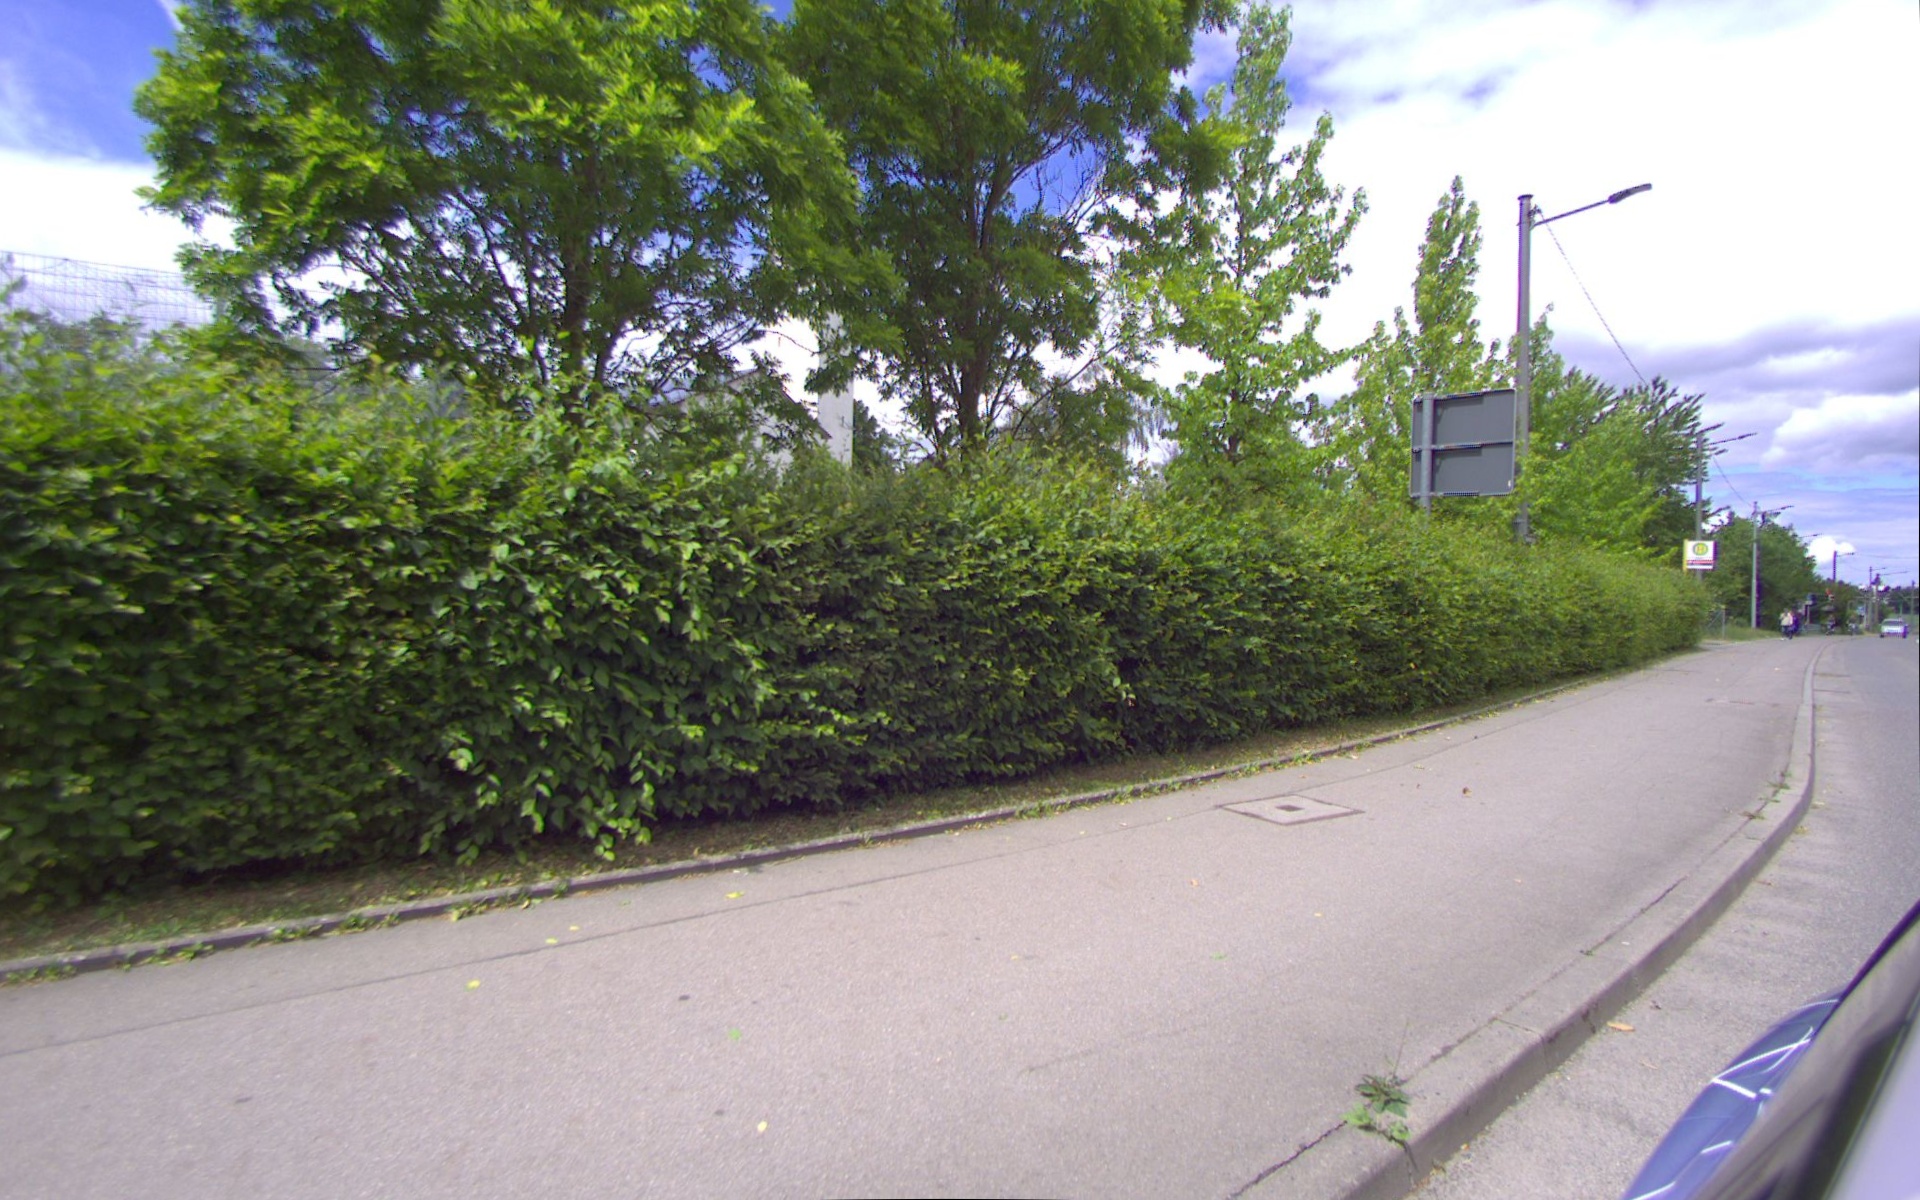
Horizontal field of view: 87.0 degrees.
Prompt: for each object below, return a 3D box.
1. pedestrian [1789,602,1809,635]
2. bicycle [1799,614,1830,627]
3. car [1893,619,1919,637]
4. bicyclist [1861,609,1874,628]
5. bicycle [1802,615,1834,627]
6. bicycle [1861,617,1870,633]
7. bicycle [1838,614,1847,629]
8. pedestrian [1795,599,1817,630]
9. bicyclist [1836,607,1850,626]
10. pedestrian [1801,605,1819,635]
[{"bbox_3d":[43.742,0.972,52.774,0.678,1.680,0.687,1,-1,-42],"label":"pedestrian"},{"bbox_3d":[77.250,1.817,91.481,0.537,1.094,2.092,1,1,-42],"label":"bicycle"},{"bbox_3d":[80.322,2.330,85.814,1.662,1.420,3.836,2,0,44],"label":"car"},{"bbox_3d":[75.667,1.558,84.364,0.824,1.558,0.848,0,-1,43],"label":"bicyclist"},{"bbox_3d":[78.307,1.906,92.375,0.549,1.061,2.090,1,-2,-42],"label":"bicycle"},{"bbox_3d":[75.299,2.086,84.160,0.449,1.302,2.175,0,-1,40],"label":"bicycle"},{"bbox_3d":[74.091,1.807,84.919,0.450,1.164,2.172,1,0,44],"label":"bicycle"},{"bbox_3d":[47.583,0.807,56.944,0.753,1.680,0.841,1,-1,-42],"label":"pedestrian"},{"bbox_3d":[74.083,1.389,84.908,0.824,1.558,0.848,1,0,44],"label":"bicyclist"},{"bbox_3d":[55.199,1.289,65.748,0.787,1.907,0.747,1,-1,-39],"label":"pedestrian"}]
